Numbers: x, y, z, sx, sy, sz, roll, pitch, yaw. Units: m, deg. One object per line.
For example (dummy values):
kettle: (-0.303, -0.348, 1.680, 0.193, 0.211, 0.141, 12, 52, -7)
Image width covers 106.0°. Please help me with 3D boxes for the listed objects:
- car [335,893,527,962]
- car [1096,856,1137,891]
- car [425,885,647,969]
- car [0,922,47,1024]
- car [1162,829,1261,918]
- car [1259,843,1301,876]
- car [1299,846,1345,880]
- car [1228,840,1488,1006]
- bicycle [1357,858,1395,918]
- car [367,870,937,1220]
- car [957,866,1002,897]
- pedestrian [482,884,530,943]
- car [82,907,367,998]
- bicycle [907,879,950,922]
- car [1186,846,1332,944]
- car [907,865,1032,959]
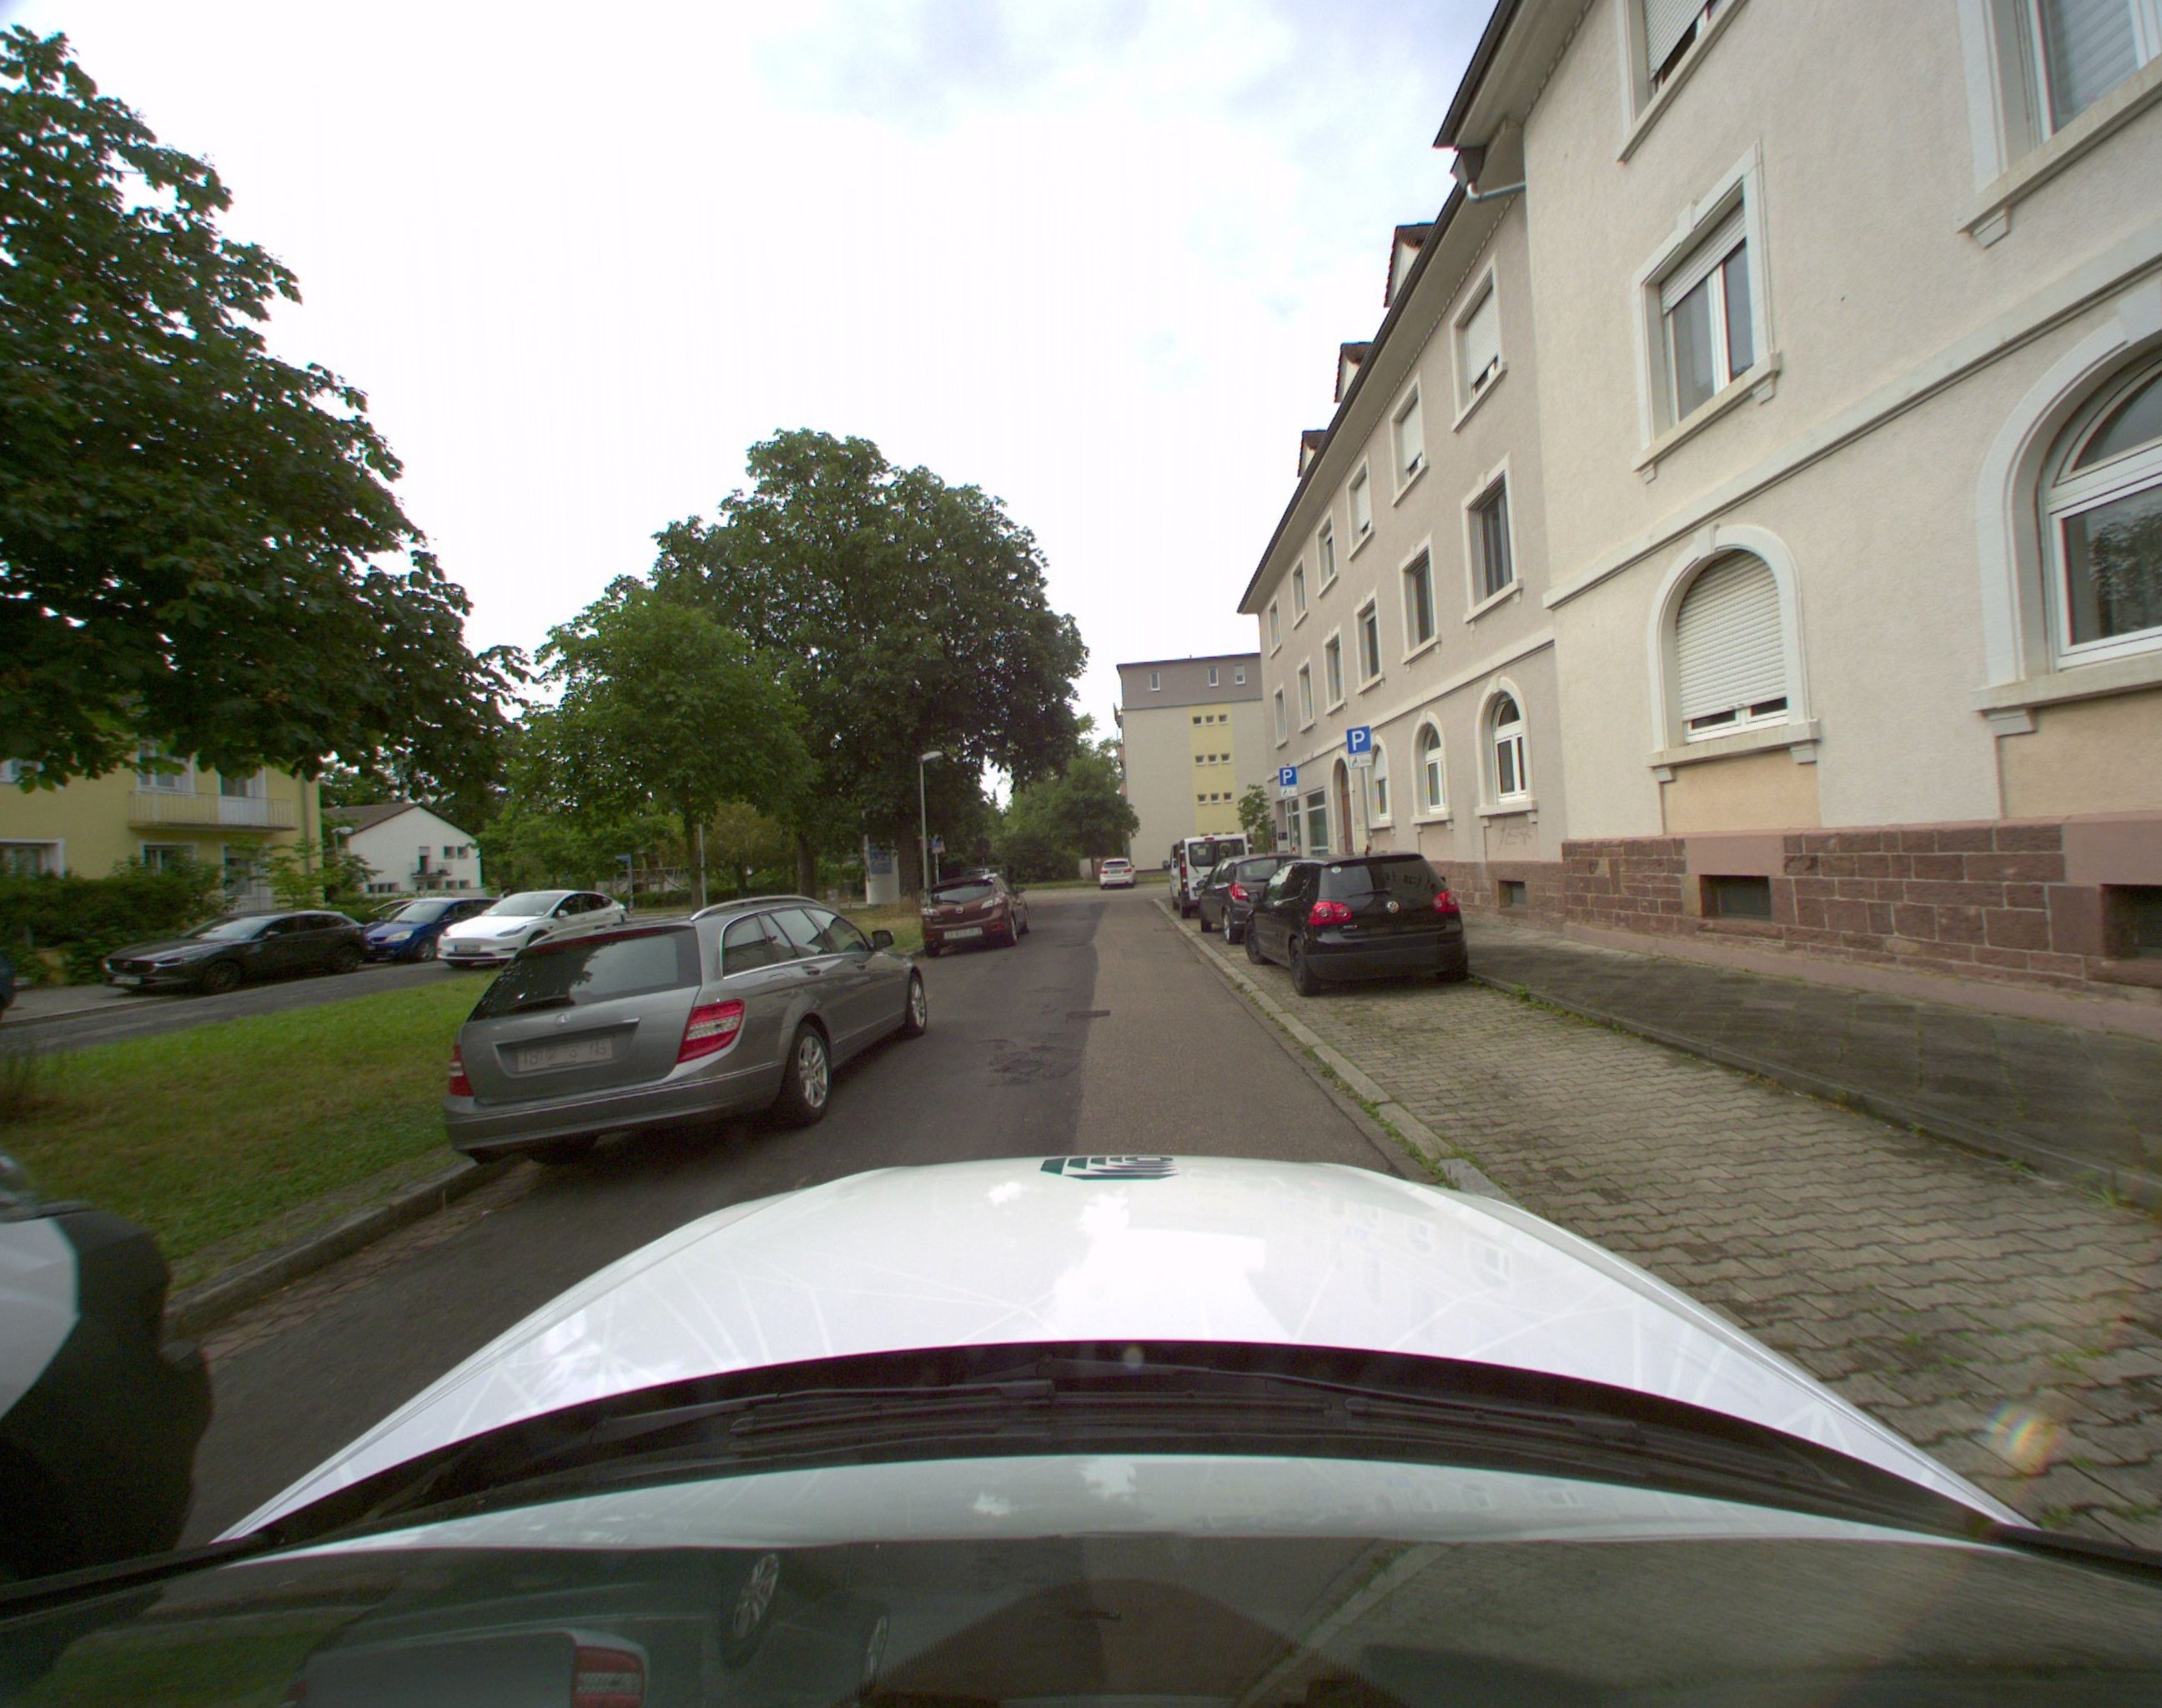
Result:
car: (-17.879, 1.964, 22.695, 1.691, 1.566, 4.216, -2, -1, 5)
car: (1.982, 1.024, 44.288, 1.868, 1.560, 4.158, -2, 2, 7)
car: (-12.756, 1.627, 19.551, 1.890, 1.566, 4.885, -3, -1, 2)
car: (-18.395, 1.947, 11.845, 1.708, 1.602, 3.885, 0, -1, 0)
car: (3.334, 0.482, 21.790, 1.871, 1.996, 5.014, -4, -1, 2)
car: (10.460, 0.249, 43.094, 1.824, 1.566, 4.370, -3, 0, 10)
car: (12.911, 0.442, 43.772, 1.898, 1.697, 4.081, -3, 0, 10)
car: (3.062, 0.677, 10.073, 1.681, 1.454, 4.546, -5, -1, 2)
bicycle: (6.099, 0.688, 16.872, 0.318, 1.182, 1.155, -3, -1, 0)
car: (-2.494, 0.972, 6.194, 1.704, 1.458, 4.449, -7, -1, 2)
car: (-5.527, 1.490, 44.910, 1.668, 1.454, 4.563, -3, 0, 2)
pedestrian: (-19.014, 1.952, 26.930, 1.225, 1.836, 0.869, -2, -2, -38)
car: (-18.245, 2.015, 17.694, 1.708, 1.500, 4.168, 0, -1, 1)
bicycle: (-4.197, 1.274, 22.576, 0.663, 1.066, 1.887, -3, -1, 4)
car: (3.132, 0.684, 15.124, 1.683, 1.454, 3.899, -5, -1, -1)
car: (-2.126, 1.059, 16.690, 1.705, 1.458, 4.164, -7, -1, 2)
